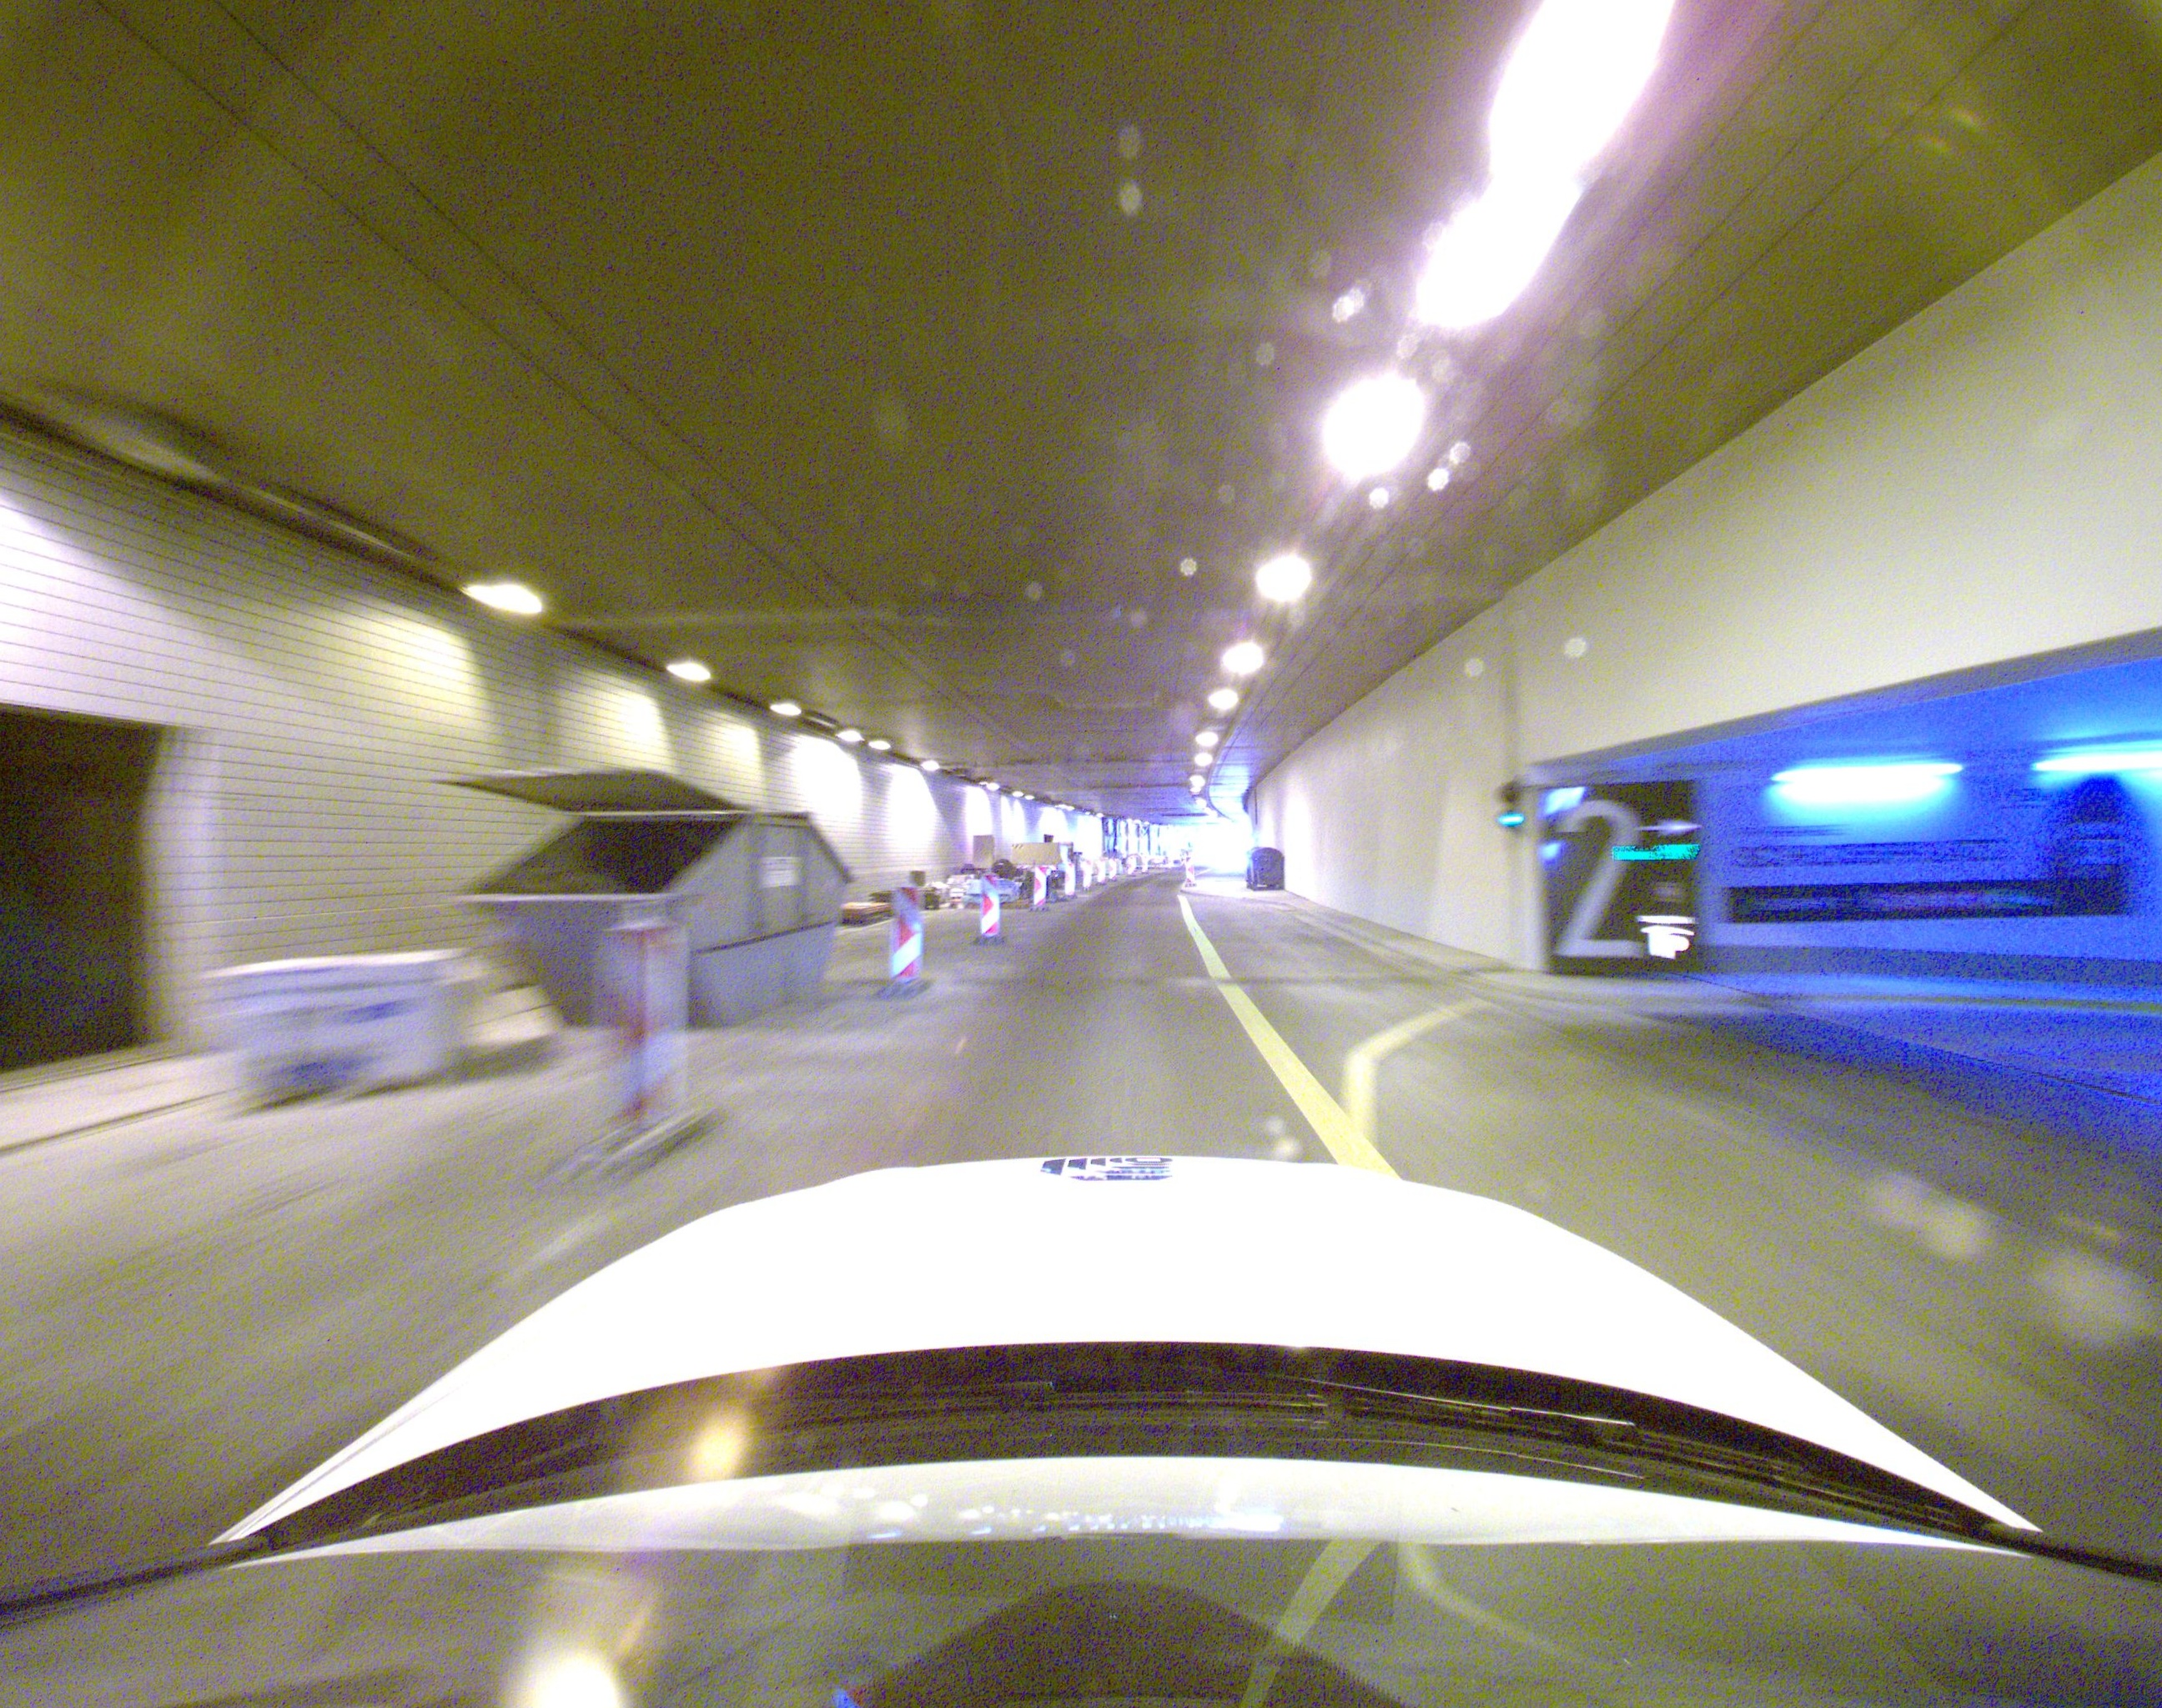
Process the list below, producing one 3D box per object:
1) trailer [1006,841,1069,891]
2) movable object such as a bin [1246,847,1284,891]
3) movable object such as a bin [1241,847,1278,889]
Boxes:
[{"bbox_3d":[-1.813,0.505,34.945,2.198,2.014,3.471,-1,-1,5],"label":"trailer"},{"bbox_3d":[6.245,0.511,27.737,1.092,1.445,1.324,-1,-1,6],"label":"movable object such as a bin"},{"bbox_3d":[6.360,0.482,29.115,1.139,1.445,1.366,-1,-1,6],"label":"movable object such as a bin"}]
